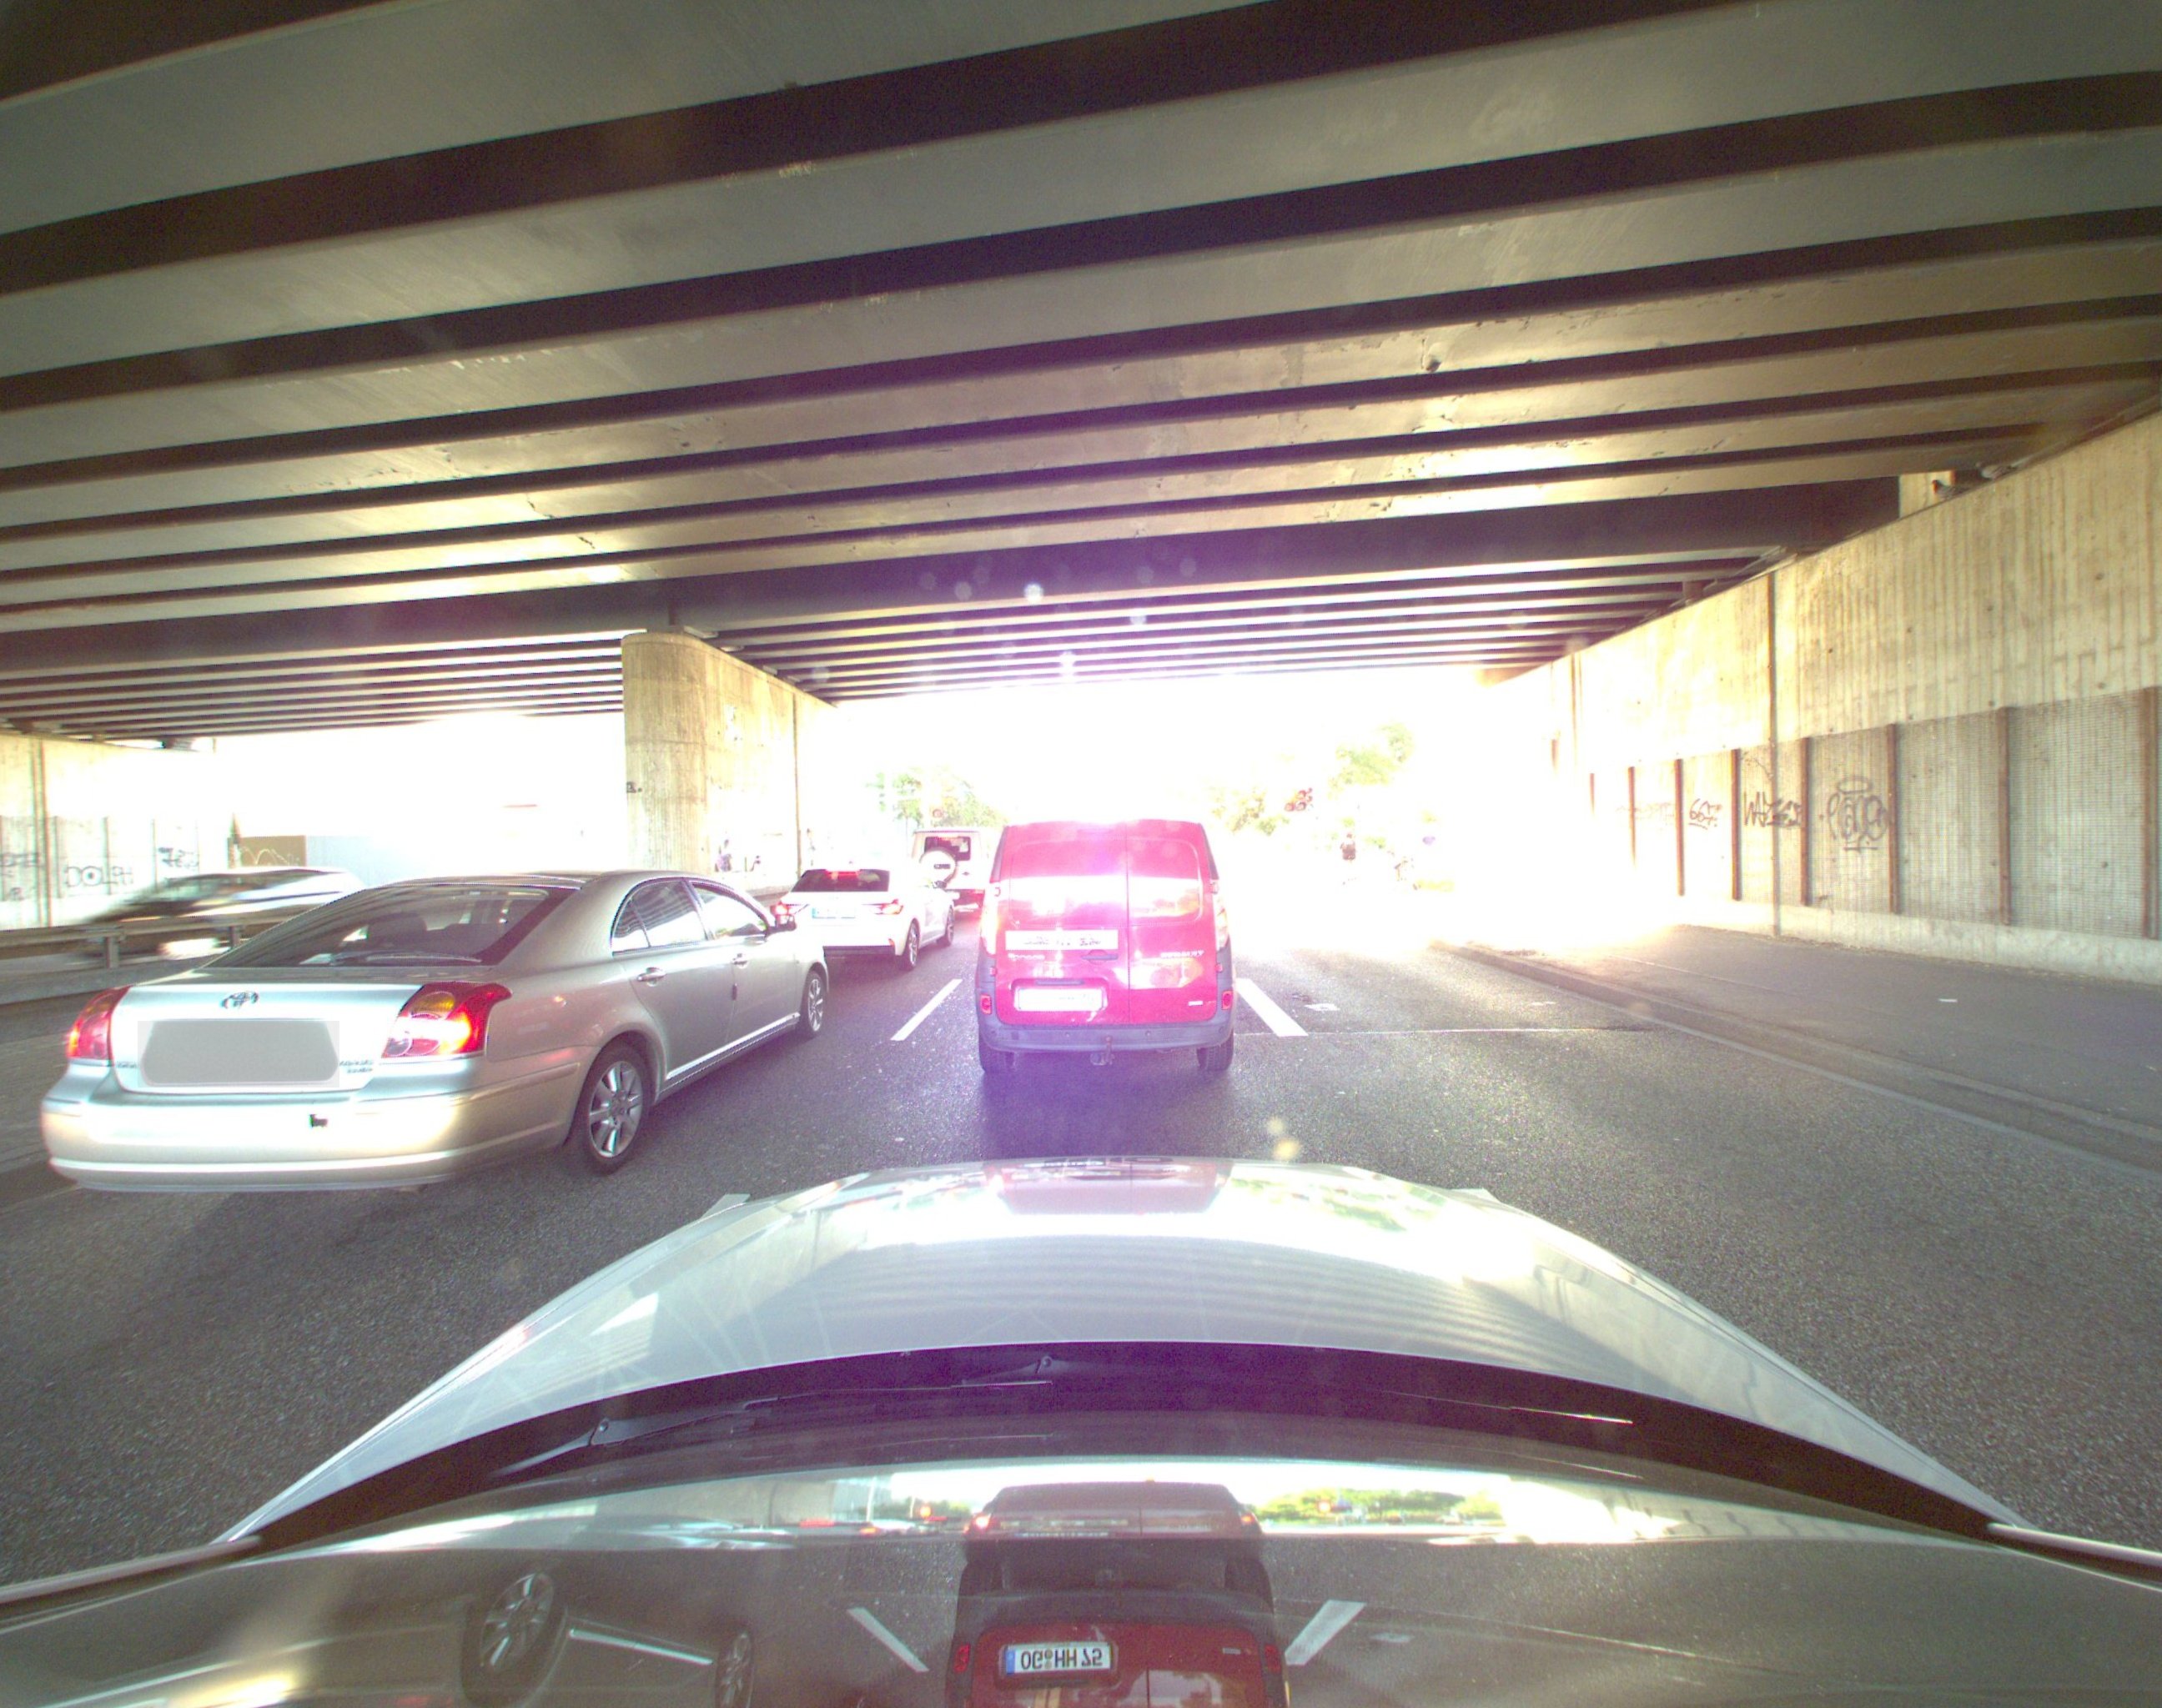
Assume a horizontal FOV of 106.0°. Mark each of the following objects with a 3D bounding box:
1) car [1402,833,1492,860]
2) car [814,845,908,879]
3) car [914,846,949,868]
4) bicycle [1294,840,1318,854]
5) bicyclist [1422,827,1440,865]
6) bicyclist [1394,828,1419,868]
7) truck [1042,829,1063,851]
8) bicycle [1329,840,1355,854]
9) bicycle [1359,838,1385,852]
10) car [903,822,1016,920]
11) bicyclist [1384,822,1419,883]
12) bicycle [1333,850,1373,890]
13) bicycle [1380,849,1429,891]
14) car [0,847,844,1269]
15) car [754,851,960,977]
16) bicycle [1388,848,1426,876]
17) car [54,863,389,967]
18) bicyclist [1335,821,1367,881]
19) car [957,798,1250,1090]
[{"bbox_3d":[21.570,-0.413,48.172,4.521,1.514,1.832,0,-1,9],"label":"car"},{"bbox_3d":[-9.845,0.347,36.620,1.674,1.448,3.781,-1,0,43],"label":"car"},{"bbox_3d":[-13.198,0.250,72.127,1.817,1.737,4.634,-4,0,4],"label":"car"},{"bbox_3d":[17.185,-0.504,62.147,1.734,1.023,0.595,-1,-1,10],"label":"bicycle"},{"bbox_3d":[13.828,-0.323,32.185,0.643,1.480,0.621,-1,1,22],"label":"bicyclist"},{"bbox_3d":[12.351,-0.214,30.920,0.662,1.474,0.751,0,-1,2],"label":"bicyclist"},{"bbox_3d":[-4.340,-2.112,124.898,2.399,3.026,6.661,-4,0,3],"label":"truck"},{"bbox_3d":[19.421,-0.533,60.630,1.734,1.023,0.595,-1,-1,10],"label":"bicycle"},{"bbox_3d":[21.287,-0.634,59.601,1.733,1.023,0.596,-1,-1,13],"label":"bicycle"},{"bbox_3d":[-2.684,0.370,19.025,1.794,1.989,4.591,0,-1,2],"label":"car"},{"bbox_3d":[8.238,-0.037,20.963,0.589,1.548,0.769,0,-1,1],"label":"bicyclist"},{"bbox_3d":[7.394,0.424,22.177,0.589,1.023,1.752,0,-1,4],"label":"bicycle"},{"bbox_3d":[8.248,0.406,20.817,0.589,1.023,1.751,0,-1,2],"label":"bicycle"},{"bbox_3d":[-3.013,0.733,5.098,1.727,1.480,4.319,-1,0,0],"label":"car"},{"bbox_3d":[-2.955,0.718,11.603,1.807,1.438,3.732,-1,1,1],"label":"car"},{"bbox_3d":[12.348,0.313,30.916,0.669,1.023,2.056,0,-1,2],"label":"bicycle"},{"bbox_3d":[-16.207,1.048,15.750,1.817,1.587,4.187,-2,1,4],"label":"car"},{"bbox_3d":[7.415,-0.075,22.399,0.589,1.613,0.943,0,-1,3],"label":"bicyclist"},{"bbox_3d":[0.199,0.573,7.042,1.798,1.794,4.001,0,-1,2],"label":"car"}]
